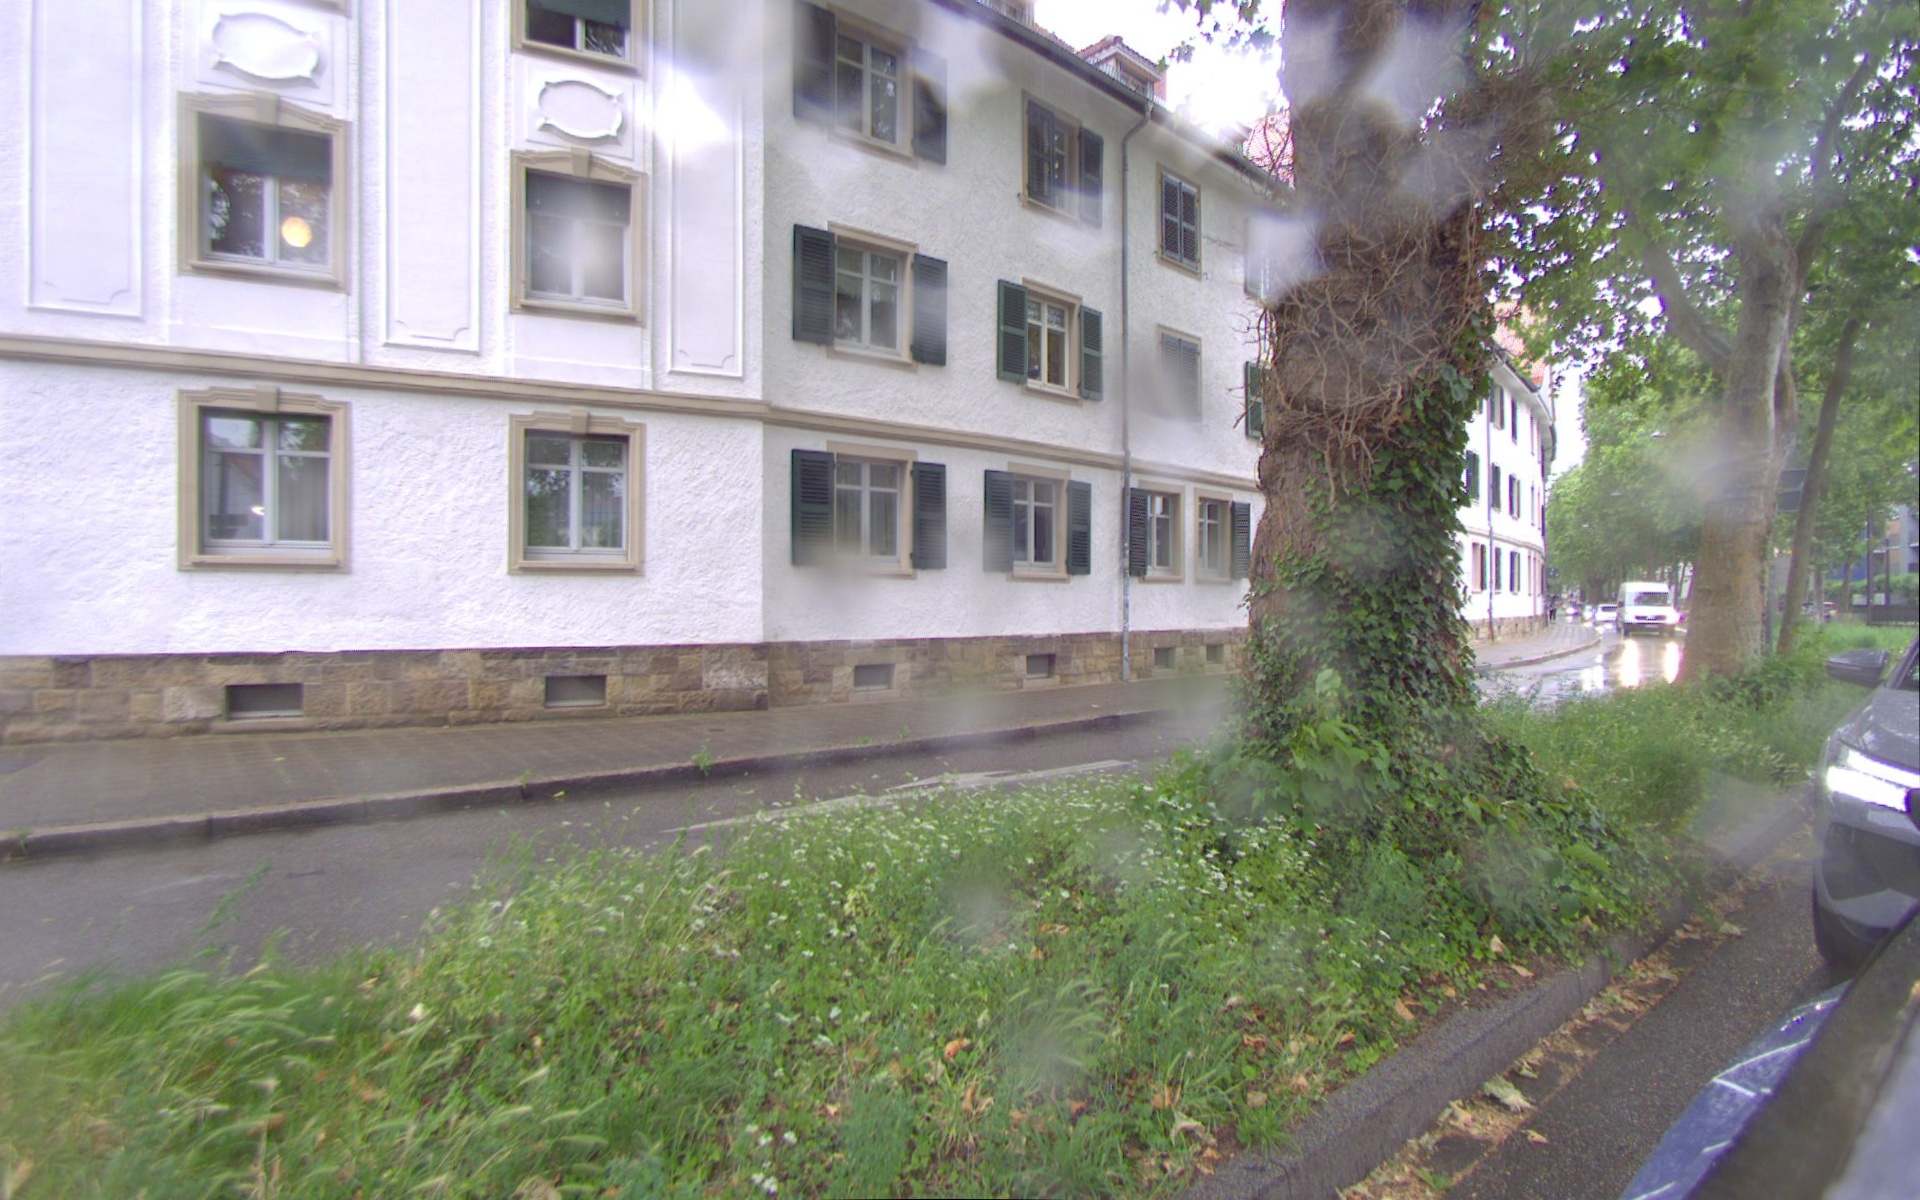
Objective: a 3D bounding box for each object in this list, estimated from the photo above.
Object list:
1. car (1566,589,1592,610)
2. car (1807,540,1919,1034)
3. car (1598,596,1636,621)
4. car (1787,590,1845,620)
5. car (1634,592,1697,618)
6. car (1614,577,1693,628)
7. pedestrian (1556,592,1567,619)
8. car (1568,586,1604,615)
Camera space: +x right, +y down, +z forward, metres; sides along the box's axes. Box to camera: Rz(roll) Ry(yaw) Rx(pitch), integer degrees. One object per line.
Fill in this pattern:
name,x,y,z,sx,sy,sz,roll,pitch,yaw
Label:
car,66.884,-0.108,109.419,1.983,2.038,3.961,5,3,28
car,5.145,0.620,4.315,4.039,1.662,1.913,0,0,-44
car,43.161,0.517,66.574,1.816,1.545,3.959,0,0,29
car,50.243,0.279,59.455,1.794,1.704,4.554,0,0,30
car,55.916,0.385,80.295,3.969,2.039,1.977,0,-1,32
car,33.212,0.103,48.637,2.173,2.292,5.366,0,0,24
pedestrian,40.645,0.356,68.383,0.668,1.845,0.672,0,0,31
car,49.148,0.008,79.569,1.983,2.038,3.961,5,3,28
